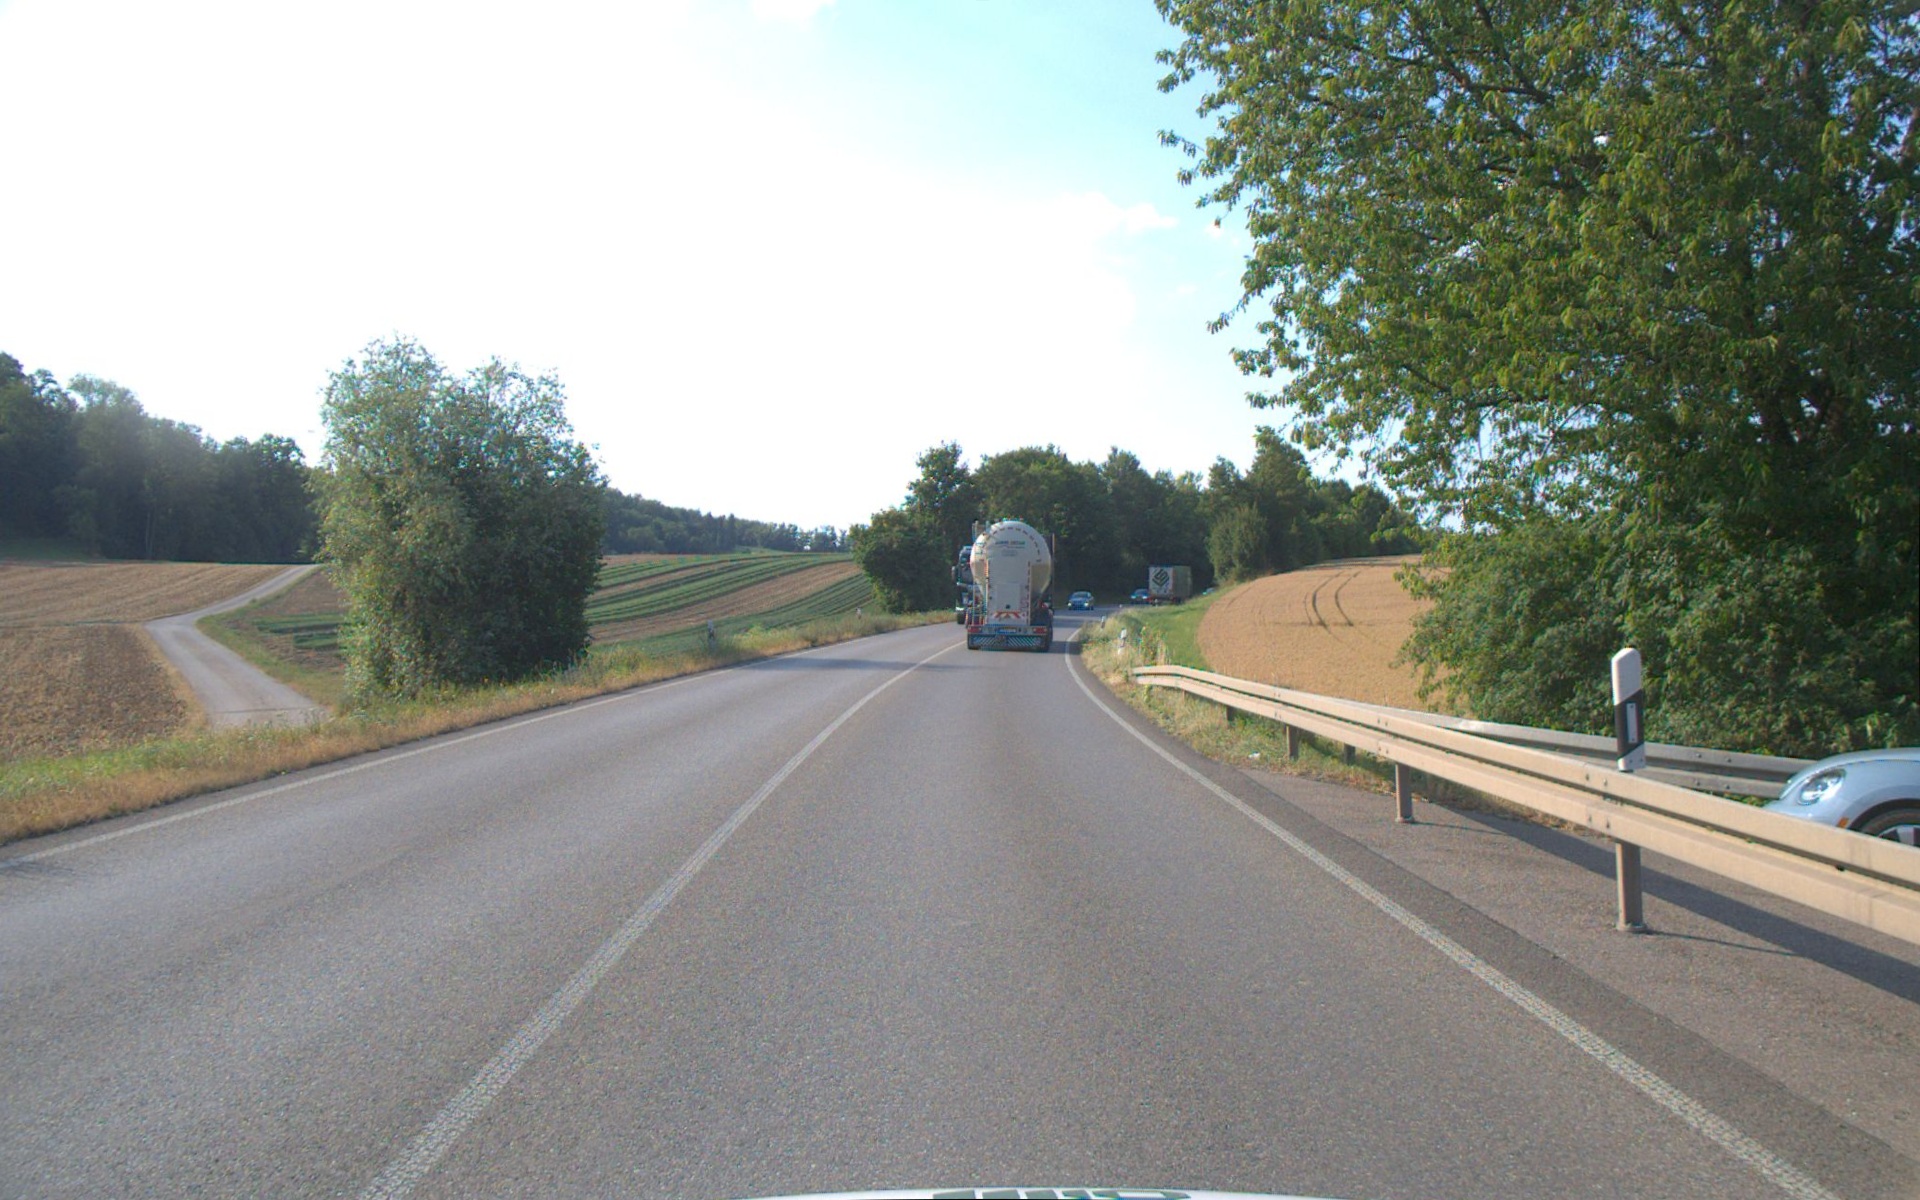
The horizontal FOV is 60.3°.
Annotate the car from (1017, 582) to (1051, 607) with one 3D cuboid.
[{"bbox_3d":[5.272,-0.405,116.921,1.933,1.679,4.366,0,1,8],"label":"car"}]

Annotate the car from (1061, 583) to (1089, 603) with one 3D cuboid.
[{"bbox_3d":[9.841,-0.606,141.659,1.933,1.679,4.366,0,1,10],"label":"car"}]

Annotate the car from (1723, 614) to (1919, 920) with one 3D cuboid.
[{"bbox_3d":[6.556,1.079,9.197,3.928,1.581,1.674,6,0,33],"label":"car"}]

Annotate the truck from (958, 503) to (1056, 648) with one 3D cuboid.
[{"bbox_3d":[1.609,-0.744,55.193,2.833,4.215,13.175,1,0,2],"label":"truck"}]

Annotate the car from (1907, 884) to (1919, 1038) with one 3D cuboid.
[{"bbox_3d":[5.888,0.752,4.868,5.040,1.977,1.973,6,0,-5],"label":"car"}]

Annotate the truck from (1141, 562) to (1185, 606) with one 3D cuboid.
[{"bbox_3d":[21.107,-1.675,171.106,3.115,4.301,13.184,0,1,13],"label":"truck"}]

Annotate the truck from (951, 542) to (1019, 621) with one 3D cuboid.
[{"bbox_3d":[1.440,-1.018,88.853,2.338,3.989,10.169,0,1,8],"label":"truck"}]
